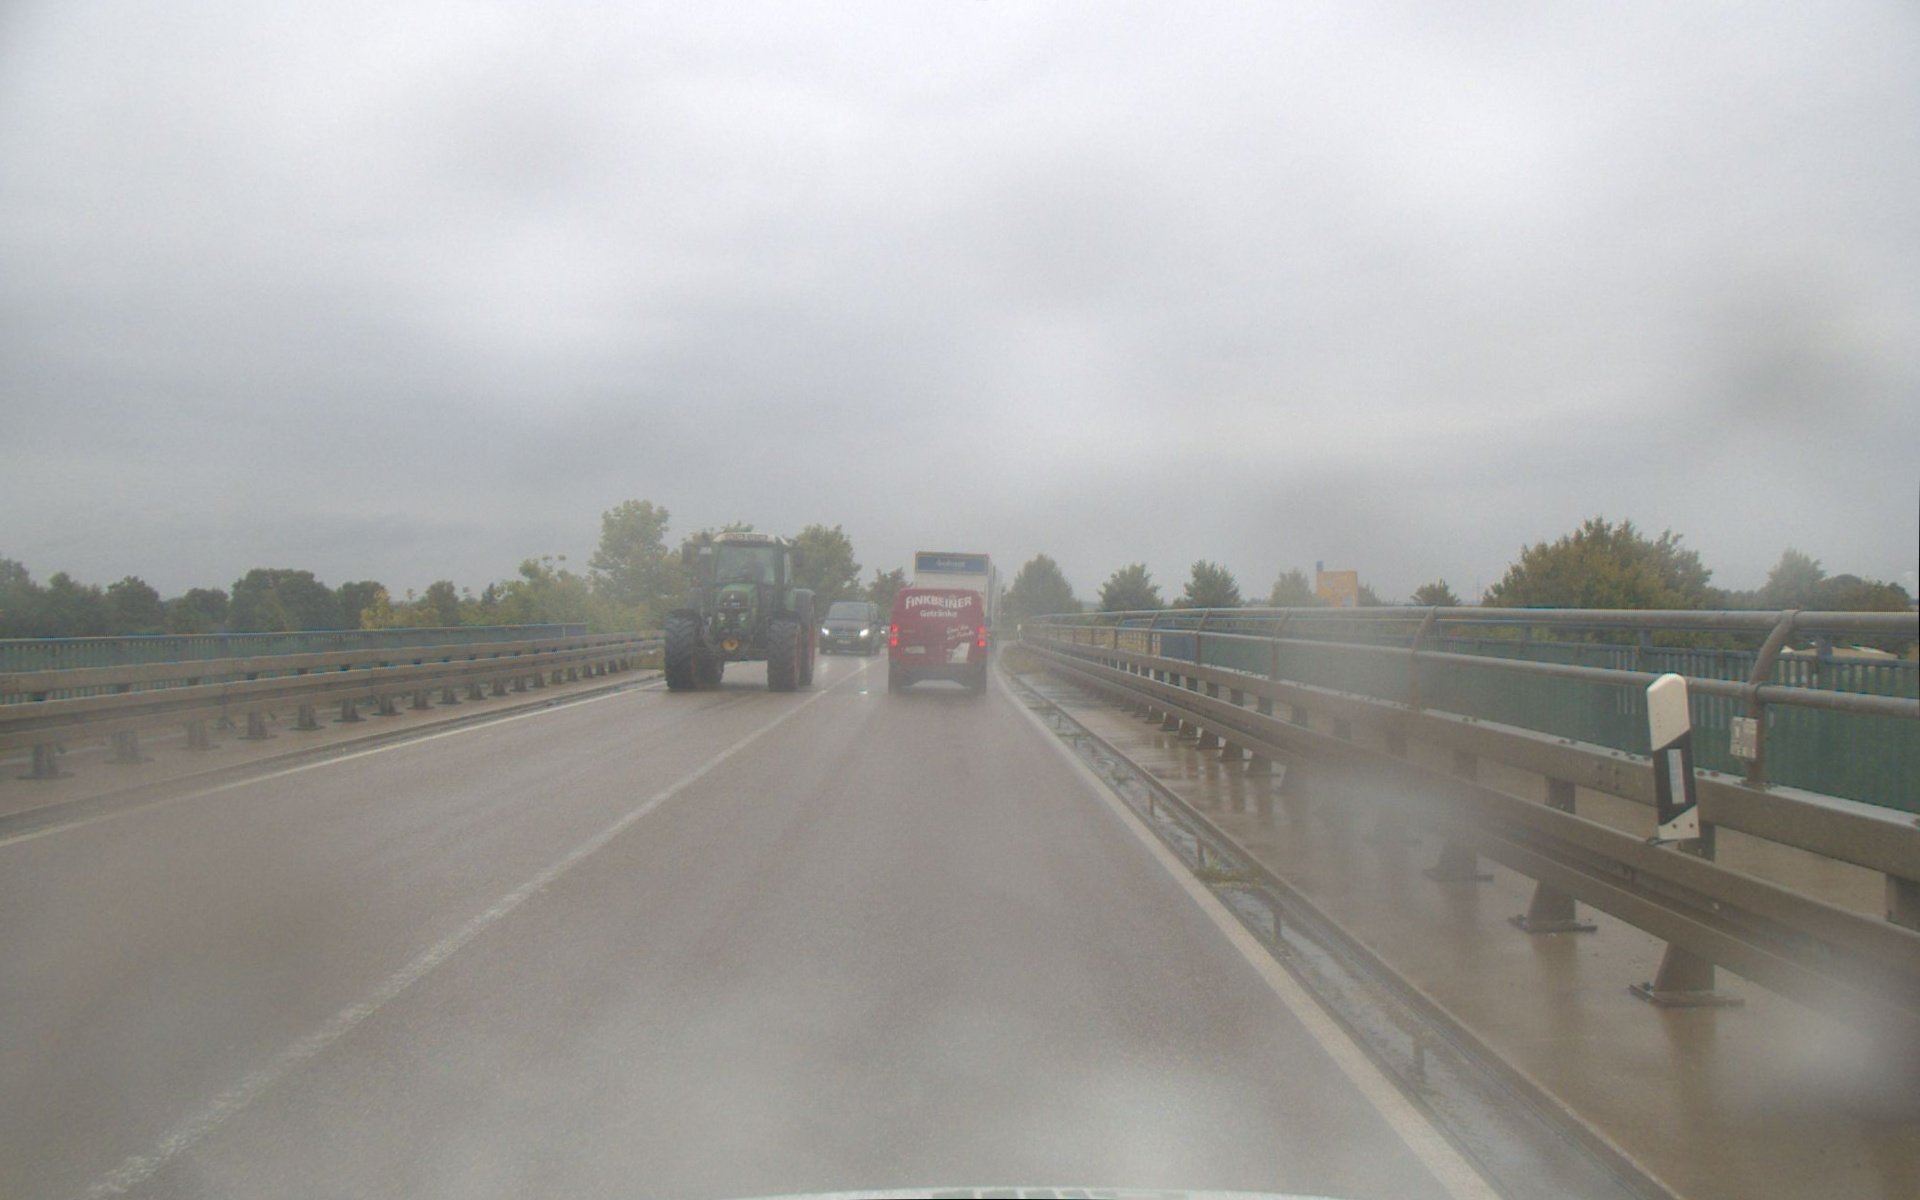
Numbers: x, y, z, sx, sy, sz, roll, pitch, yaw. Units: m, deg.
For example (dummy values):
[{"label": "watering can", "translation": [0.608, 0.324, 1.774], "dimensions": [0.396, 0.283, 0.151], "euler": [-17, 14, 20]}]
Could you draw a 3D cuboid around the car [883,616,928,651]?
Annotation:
[{"label": "car", "translation": [-2.530, 1.551, 77.208], "dimensions": [1.800, 1.564, 4.070], "euler": [0, 0, 2]}]

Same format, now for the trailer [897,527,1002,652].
[{"label": "trailer", "translation": [-0.240, -0.322, 59.393], "dimensions": [3.135, 3.990, 8.742], "euler": [3, 0, 3]}]

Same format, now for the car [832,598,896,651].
[{"label": "car", "translation": [-3.496, 0.873, 60.800], "dimensions": [2.023, 1.869, 4.931], "euler": [0, 0, 0]}]

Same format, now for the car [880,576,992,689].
[{"label": "car", "translation": [-0.472, 0.548, 31.507], "dimensions": [1.953, 1.959, 4.142], "euler": [1, 1, -2]}]

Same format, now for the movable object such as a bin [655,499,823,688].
[{"label": "movable object such as a bin", "translation": [-4.297, -0.107, 33.053], "dimensions": [2.692, 3.506, 4.643], "euler": [0, 0, 1]}]

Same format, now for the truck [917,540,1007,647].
[{"label": "truck", "translation": [0.195, -0.210, 68.150], "dimensions": [3.135, 3.990, 8.742], "euler": [3, 0, 3]}]
